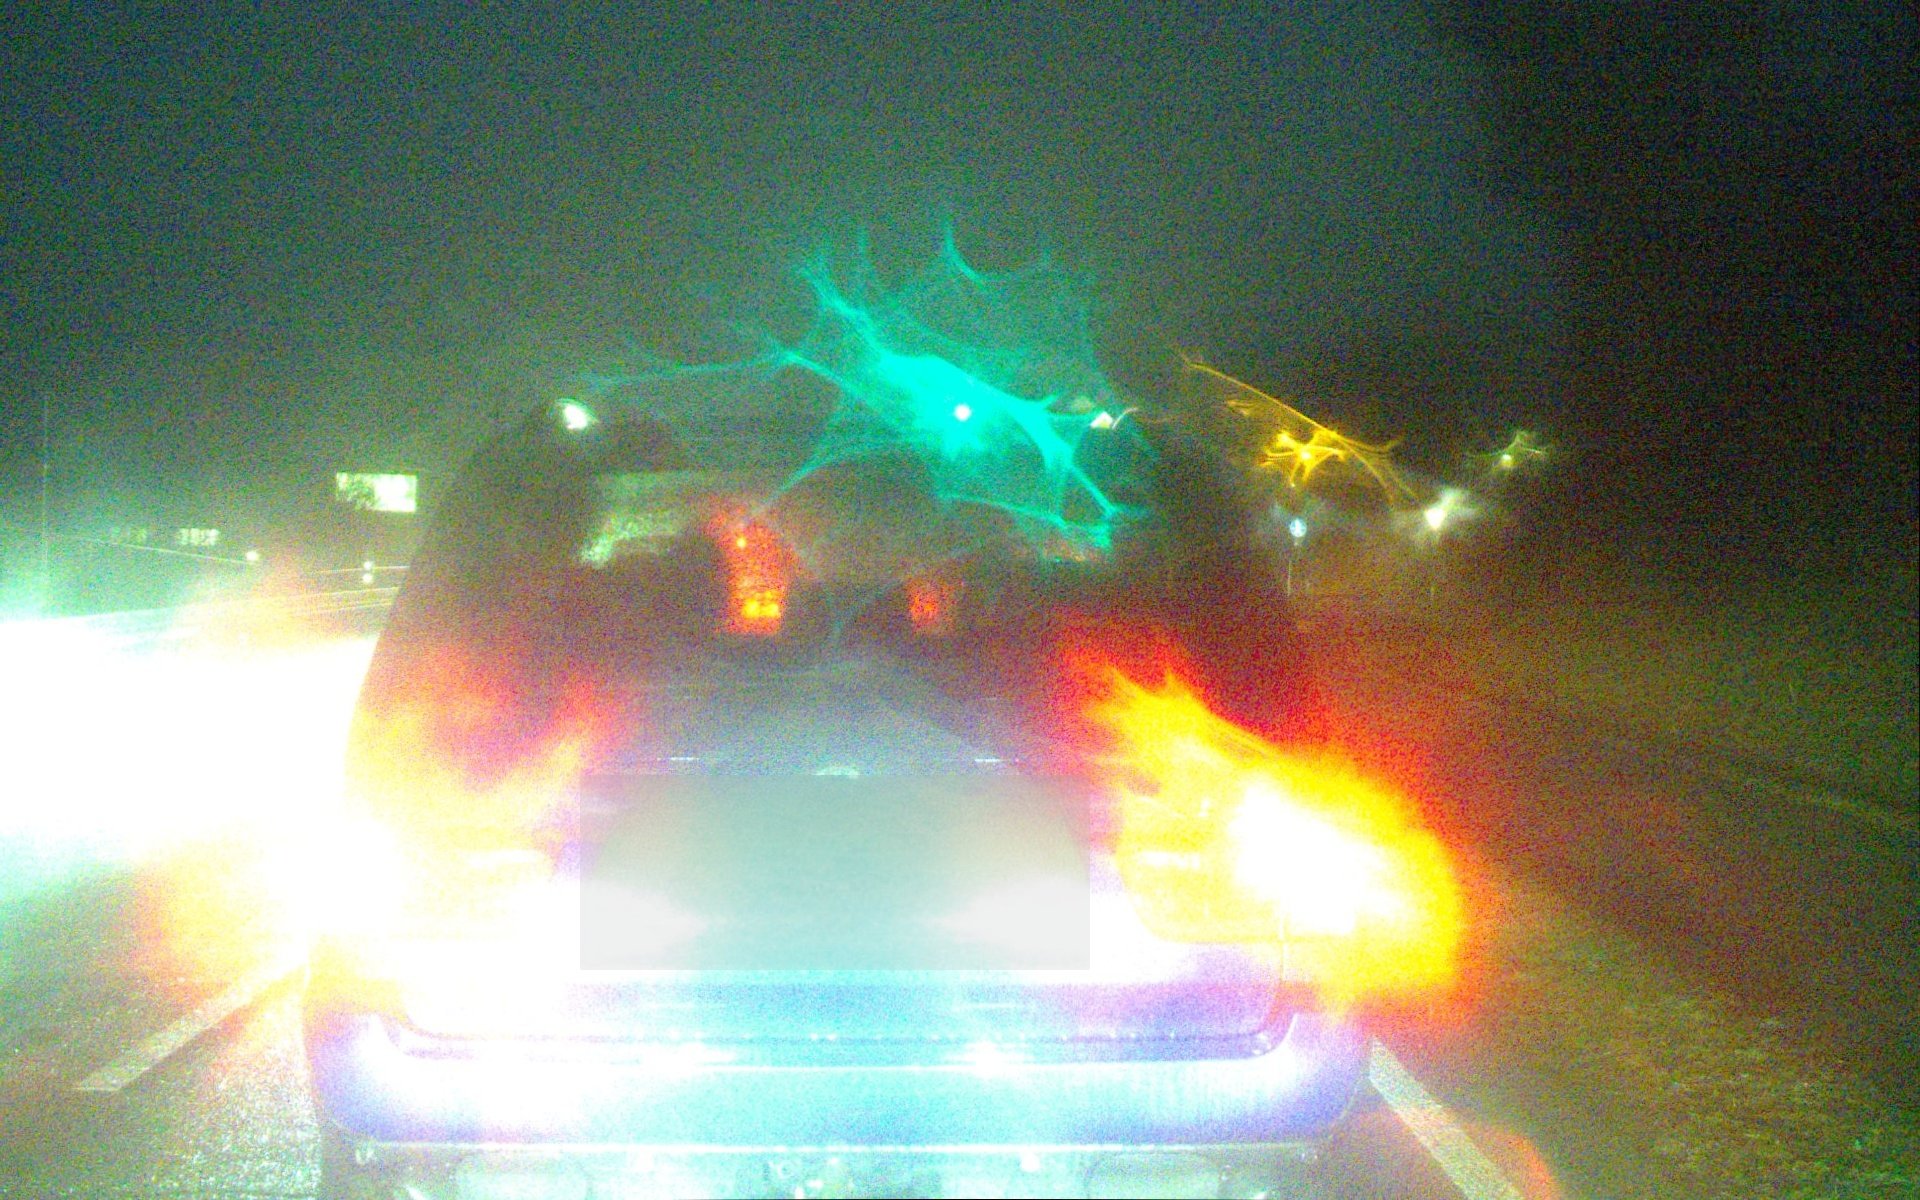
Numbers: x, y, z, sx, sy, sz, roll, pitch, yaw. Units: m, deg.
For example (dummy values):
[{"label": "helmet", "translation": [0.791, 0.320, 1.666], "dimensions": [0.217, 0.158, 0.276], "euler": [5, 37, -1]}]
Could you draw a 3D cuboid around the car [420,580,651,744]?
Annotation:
[{"label": "car", "translation": [-4.295, 0.591, 35.363], "dimensions": [1.903, 1.465, 4.275], "euler": [2, 1, -1]}]

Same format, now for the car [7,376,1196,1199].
[{"label": "car", "translation": [-0.546, 0.505, 7.158], "dimensions": [1.775, 1.706, 4.000], "euler": [0, 1, 0]}]
